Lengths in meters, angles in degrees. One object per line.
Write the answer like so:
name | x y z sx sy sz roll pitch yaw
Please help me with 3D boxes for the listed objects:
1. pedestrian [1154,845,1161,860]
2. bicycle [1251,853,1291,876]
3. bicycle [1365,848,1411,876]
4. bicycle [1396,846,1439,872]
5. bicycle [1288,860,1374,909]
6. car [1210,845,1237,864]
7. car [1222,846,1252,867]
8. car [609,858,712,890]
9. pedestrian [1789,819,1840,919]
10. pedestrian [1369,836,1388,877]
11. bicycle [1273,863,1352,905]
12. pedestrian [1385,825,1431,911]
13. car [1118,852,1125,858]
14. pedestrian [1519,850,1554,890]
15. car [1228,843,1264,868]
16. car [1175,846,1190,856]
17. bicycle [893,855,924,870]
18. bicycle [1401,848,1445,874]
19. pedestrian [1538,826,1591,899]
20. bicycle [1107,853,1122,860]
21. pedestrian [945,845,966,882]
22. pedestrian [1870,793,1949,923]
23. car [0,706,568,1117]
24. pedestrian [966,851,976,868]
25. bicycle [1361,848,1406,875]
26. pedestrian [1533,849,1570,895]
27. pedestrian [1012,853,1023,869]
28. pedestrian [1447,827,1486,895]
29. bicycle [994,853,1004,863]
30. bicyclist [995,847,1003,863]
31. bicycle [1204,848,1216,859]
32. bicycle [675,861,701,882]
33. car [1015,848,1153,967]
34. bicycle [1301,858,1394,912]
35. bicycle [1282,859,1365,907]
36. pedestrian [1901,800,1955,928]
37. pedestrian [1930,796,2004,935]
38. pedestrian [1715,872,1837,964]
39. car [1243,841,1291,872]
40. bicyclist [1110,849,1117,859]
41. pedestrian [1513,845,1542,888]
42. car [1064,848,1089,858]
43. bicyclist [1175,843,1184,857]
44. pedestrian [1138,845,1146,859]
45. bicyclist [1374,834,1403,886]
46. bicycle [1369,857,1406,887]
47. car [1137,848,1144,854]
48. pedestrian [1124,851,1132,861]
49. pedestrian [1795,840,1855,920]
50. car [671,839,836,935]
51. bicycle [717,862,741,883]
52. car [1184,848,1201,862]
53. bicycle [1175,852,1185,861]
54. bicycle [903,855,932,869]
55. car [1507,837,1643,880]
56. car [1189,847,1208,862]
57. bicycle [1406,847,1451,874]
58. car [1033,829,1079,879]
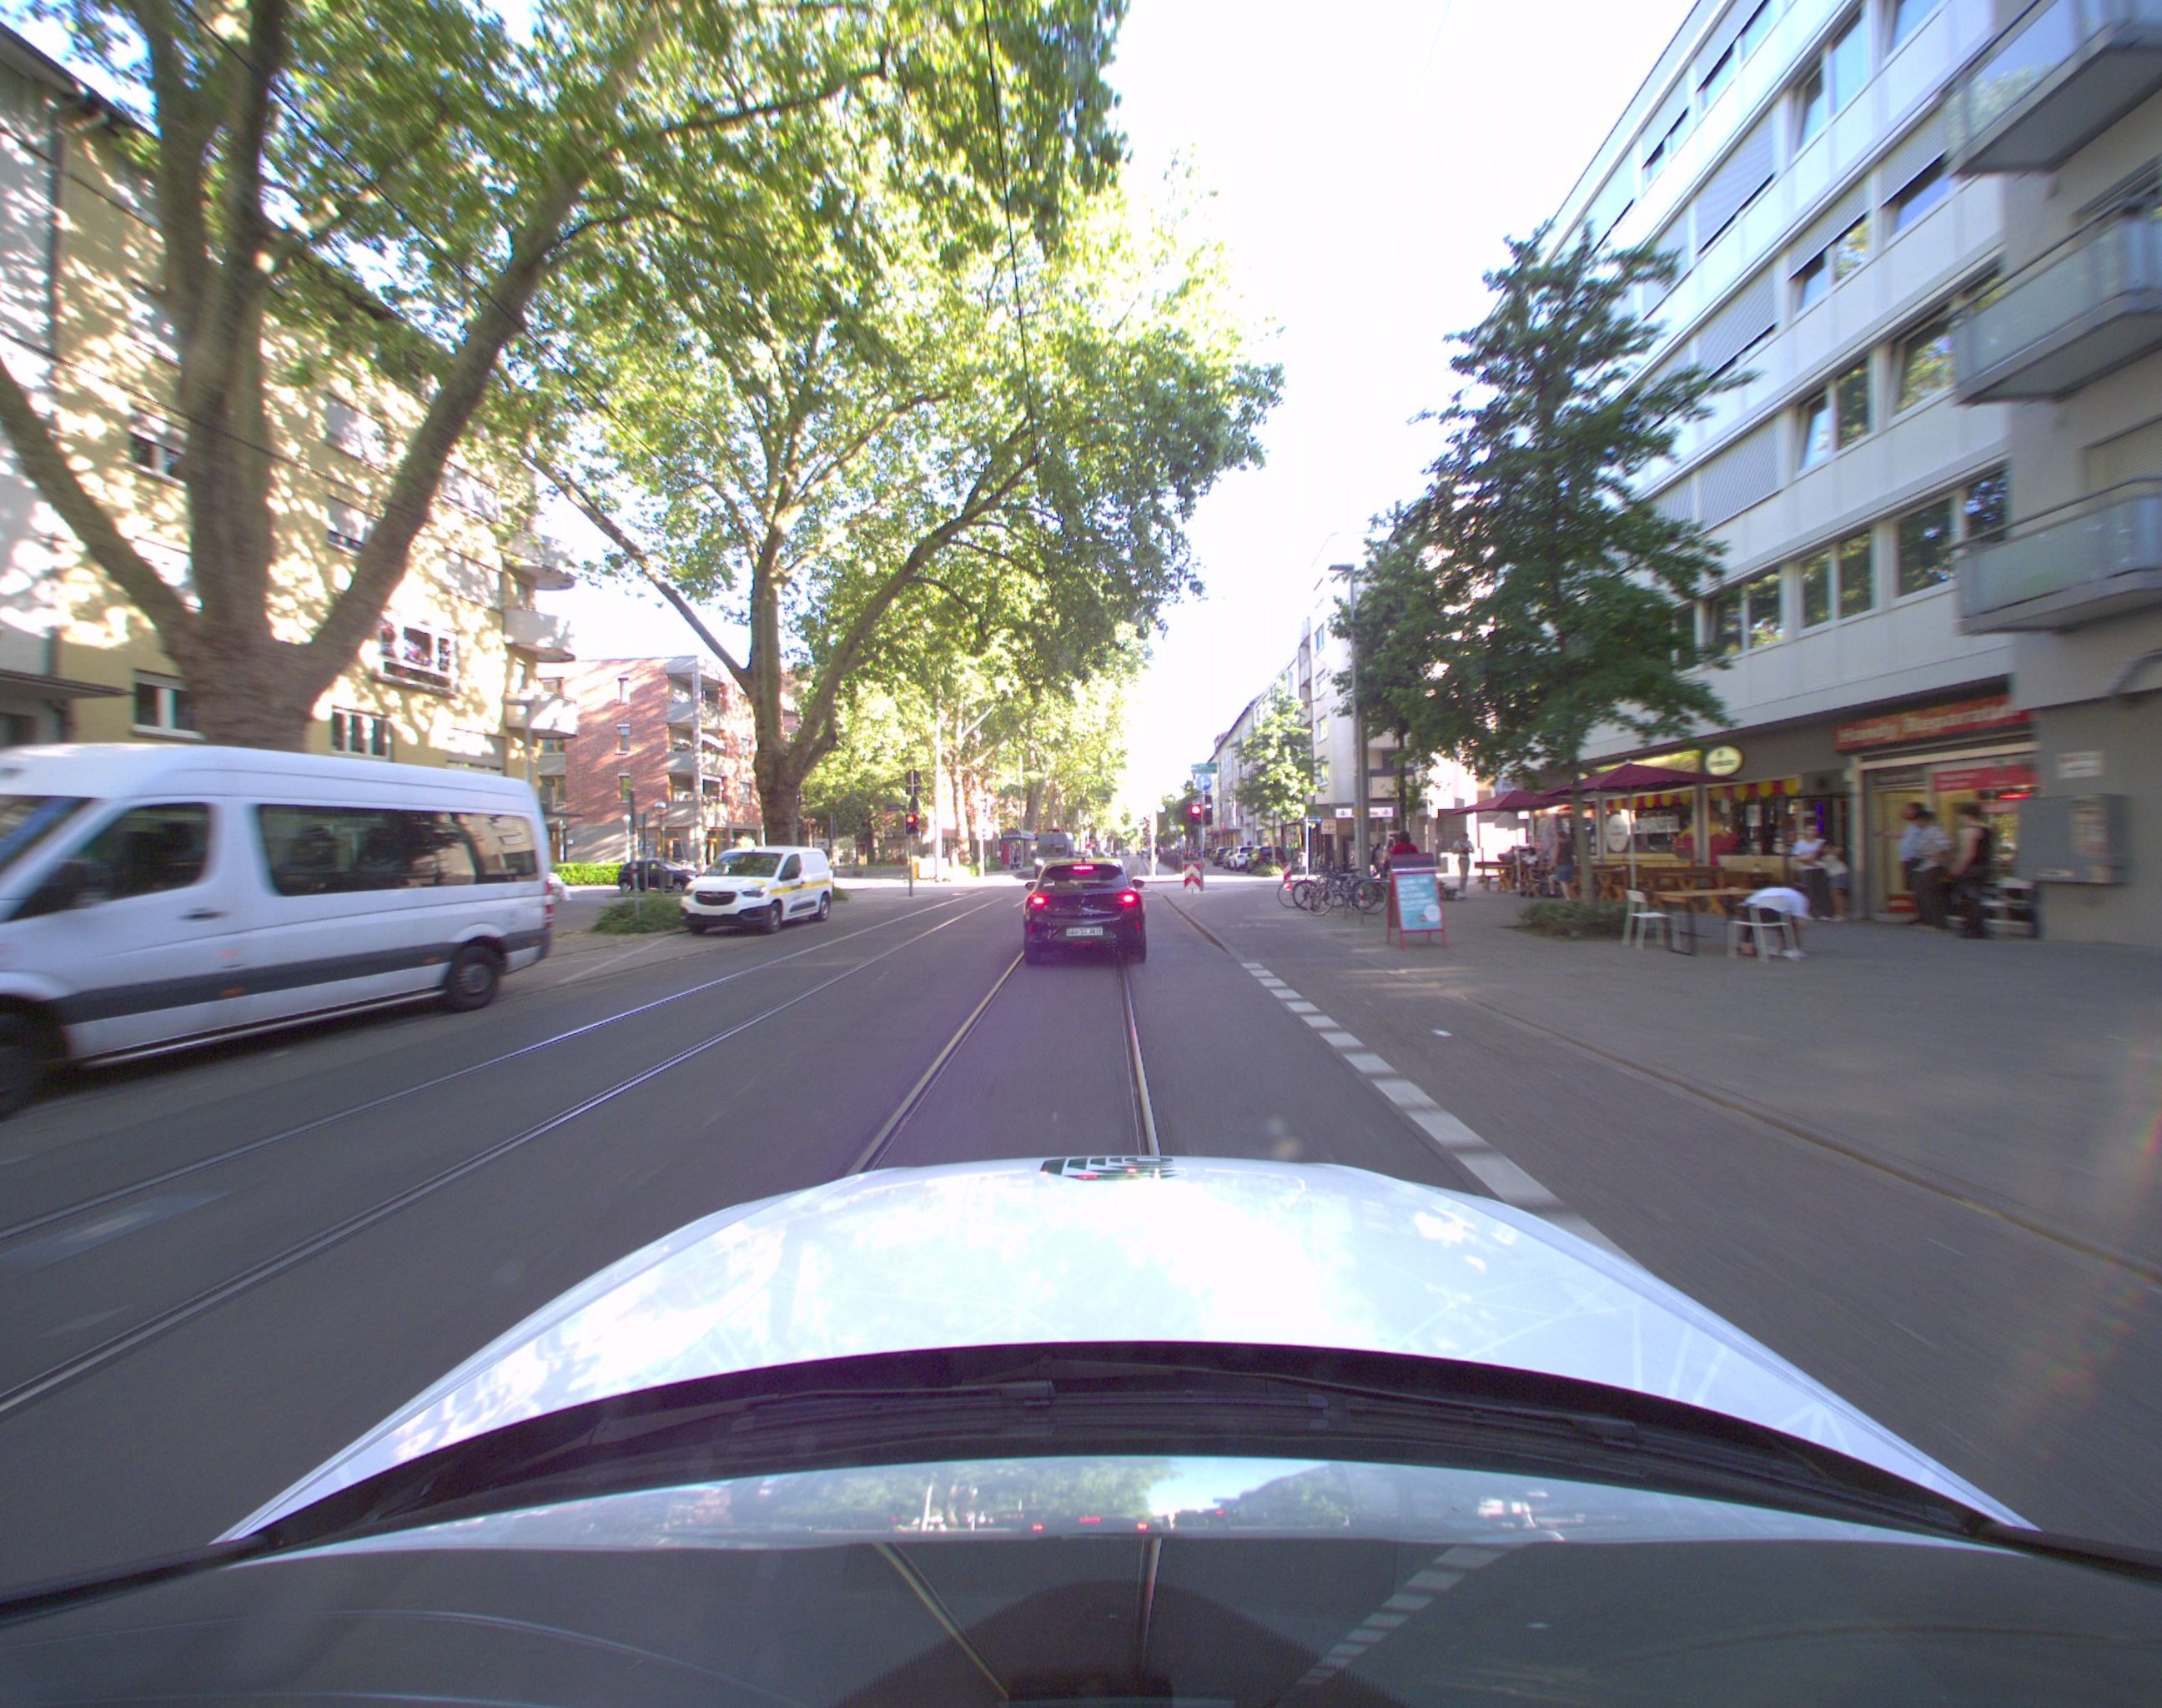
pedestrian | 8.022 -0.162 85.200 0.628 1.576 0.871 1 0 4
bicycle | 10.366 0.574 44.537 2.112 1.187 0.683 -1 0 11
bicycle | 14.182 0.355 37.675 1.908 1.207 0.511 -2 1 -1
bicycle | 16.325 0.252 39.534 1.908 1.208 0.511 0 -1 -1
bicycle | 5.700 0.687 18.589 1.812 1.100 0.480 0 0 -5
car | 12.398 0.056 70.944 1.849 1.615 4.402 0 0 4
car | 11.554 0.180 60.598 1.736 1.440 4.251 0 0 4
car | -20.433 0.965 39.705 3.971 1.508 2.001 0 0 2
pedestrian | 12.268 0.247 13.630 0.510 1.628 0.513 0 -1 -34
pedestrian | 11.333 0.105 31.000 0.548 1.562 0.646 -1 -1 8
bicycle | 5.680 0.733 20.000 1.809 0.994 0.481 0 0 1
pedestrian | 6.988 0.297 17.361 0.867 1.758 1.053 -1 0 23
car | 10.752 0.150 215.565 1.738 1.544 4.002 0 0 2
pedestrian | 12.230 0.425 21.888 0.639 1.079 0.522 0 0 1
car | 11.092 0.121 54.958 1.791 1.606 4.420 0 0 4
car | 15.502 -0.502 124.327 1.985 1.486 4.004 0 0 4
bicycle | -14.379 0.702 67.909 2.447 1.219 0.683 1 0 4
bicycle | 16.316 0.322 38.870 1.908 1.207 0.511 0 0 -1
pedestrian | 11.248 0.195 18.967 0.677 1.659 0.811 0 0 -11
bicycle | 5.861 0.420 141.261 2.474 1.240 0.957 0 0 -2
pedestrian | -6.481 0.494 41.970 0.921 1.835 0.920 0 2 0
pedestrian | 12.905 0.067 12.705 0.502 1.954 0.795 -1 0 13
car | -7.650 0.371 7.153 2.098 2.577 6.031 0 0 5
pedestrian | -10.768 0.528 79.787 0.732 1.672 0.862 0 0 4
bicycle | 14.180 0.334 38.205 1.908 1.207 0.511 -2 1 -1
pedestrian | 12.139 0.466 21.039 0.656 1.175 0.522 0 0 1
pedestrian | -4.650 0.500 59.748 0.703 1.168 0.659 -2 0 0
pedestrian | 10.287 0.186 21.773 0.588 1.784 0.996 0 0 2
bicycle | -8.941 0.409 88.735 0.779 1.111 2.596 0 0 1
bicyclist | -8.939 0.107 88.636 0.771 1.750 0.998 0 0 1
bicycle | 14.452 -0.054 91.218 0.621 1.136 2.433 0 0 -7
bicycle | -21.841 0.982 45.280 0.539 1.084 1.640 -1 1 2
car | 0.097 0.706 12.489 1.753 1.508 3.684 -2 0 2
bicycle | 5.719 0.653 17.538 1.808 1.100 0.526 -1 -1 2
bicycle | 5.672 0.672 19.105 1.812 1.100 0.497 0 0 -5
pedestrian | 12.389 0.146 11.919 0.635 1.805 0.520 0 -1 -44
pedestrian | 11.771 0.152 10.828 0.429 1.796 0.489 0 0 2
pedestrian | 8.379 0.749 9.837 0.999 1.027 0.658 0 0 -13
car | 10.801 0.137 47.604 1.985 1.615 4.450 -3 0 4
bicyclist | 5.690 -0.031 141.257 1.160 1.748 0.957 0 0 -2
pedestrian | 13.693 0.388 24.966 0.533 1.287 0.716 0 0 5
car | -0.839 -0.199 136.169 4.105 1.701 1.881 0 0 -4
bicyclist | 12.239 -0.463 101.076 0.859 1.759 1.052 0 0 -3
pedestrian | 7.766 -0.233 104.108 0.742 1.709 0.768 -1 -1 38
bicyclist | 10.281 0.203 27.251 0.673 1.717 0.967 0 0 6
bicycle | 10.296 0.580 27.387 0.673 0.963 2.025 0 0 6
car | 15.762 -0.724 216.477 1.738 1.544 4.002 0 0 2
pedestrian | 7.975 0.292 138.618 1.160 1.748 0.957 0 0 -2
pedestrian | 12.348 0.419 13.521 0.511 1.276 0.620 0 -1 -34
car | -7.003 0.646 17.970 1.756 1.850 4.320 0 0 2
bicycle | -19.531 1.004 45.170 0.539 1.084 1.640 0 2 2
car | 15.317 0.139 111.988 1.985 1.797 4.003 0 0 3
bicycle | 12.239 0.334 101.020 0.859 1.136 2.394 0 0 -2
bicycle | -13.829 0.668 68.822 2.330 1.166 0.683 0 0 4
car | 19.413 0.194 32.124 4.238 1.592 1.965 -1 -1 -3
car | 15.197 0.038 105.458 1.985 1.952 4.003 0 0 3
bicycle | 16.317 0.315 38.258 1.908 1.207 0.511 -1 1 -1
car | -1.409 0.018 49.496 2.104 2.738 6.121 -2 0 4
